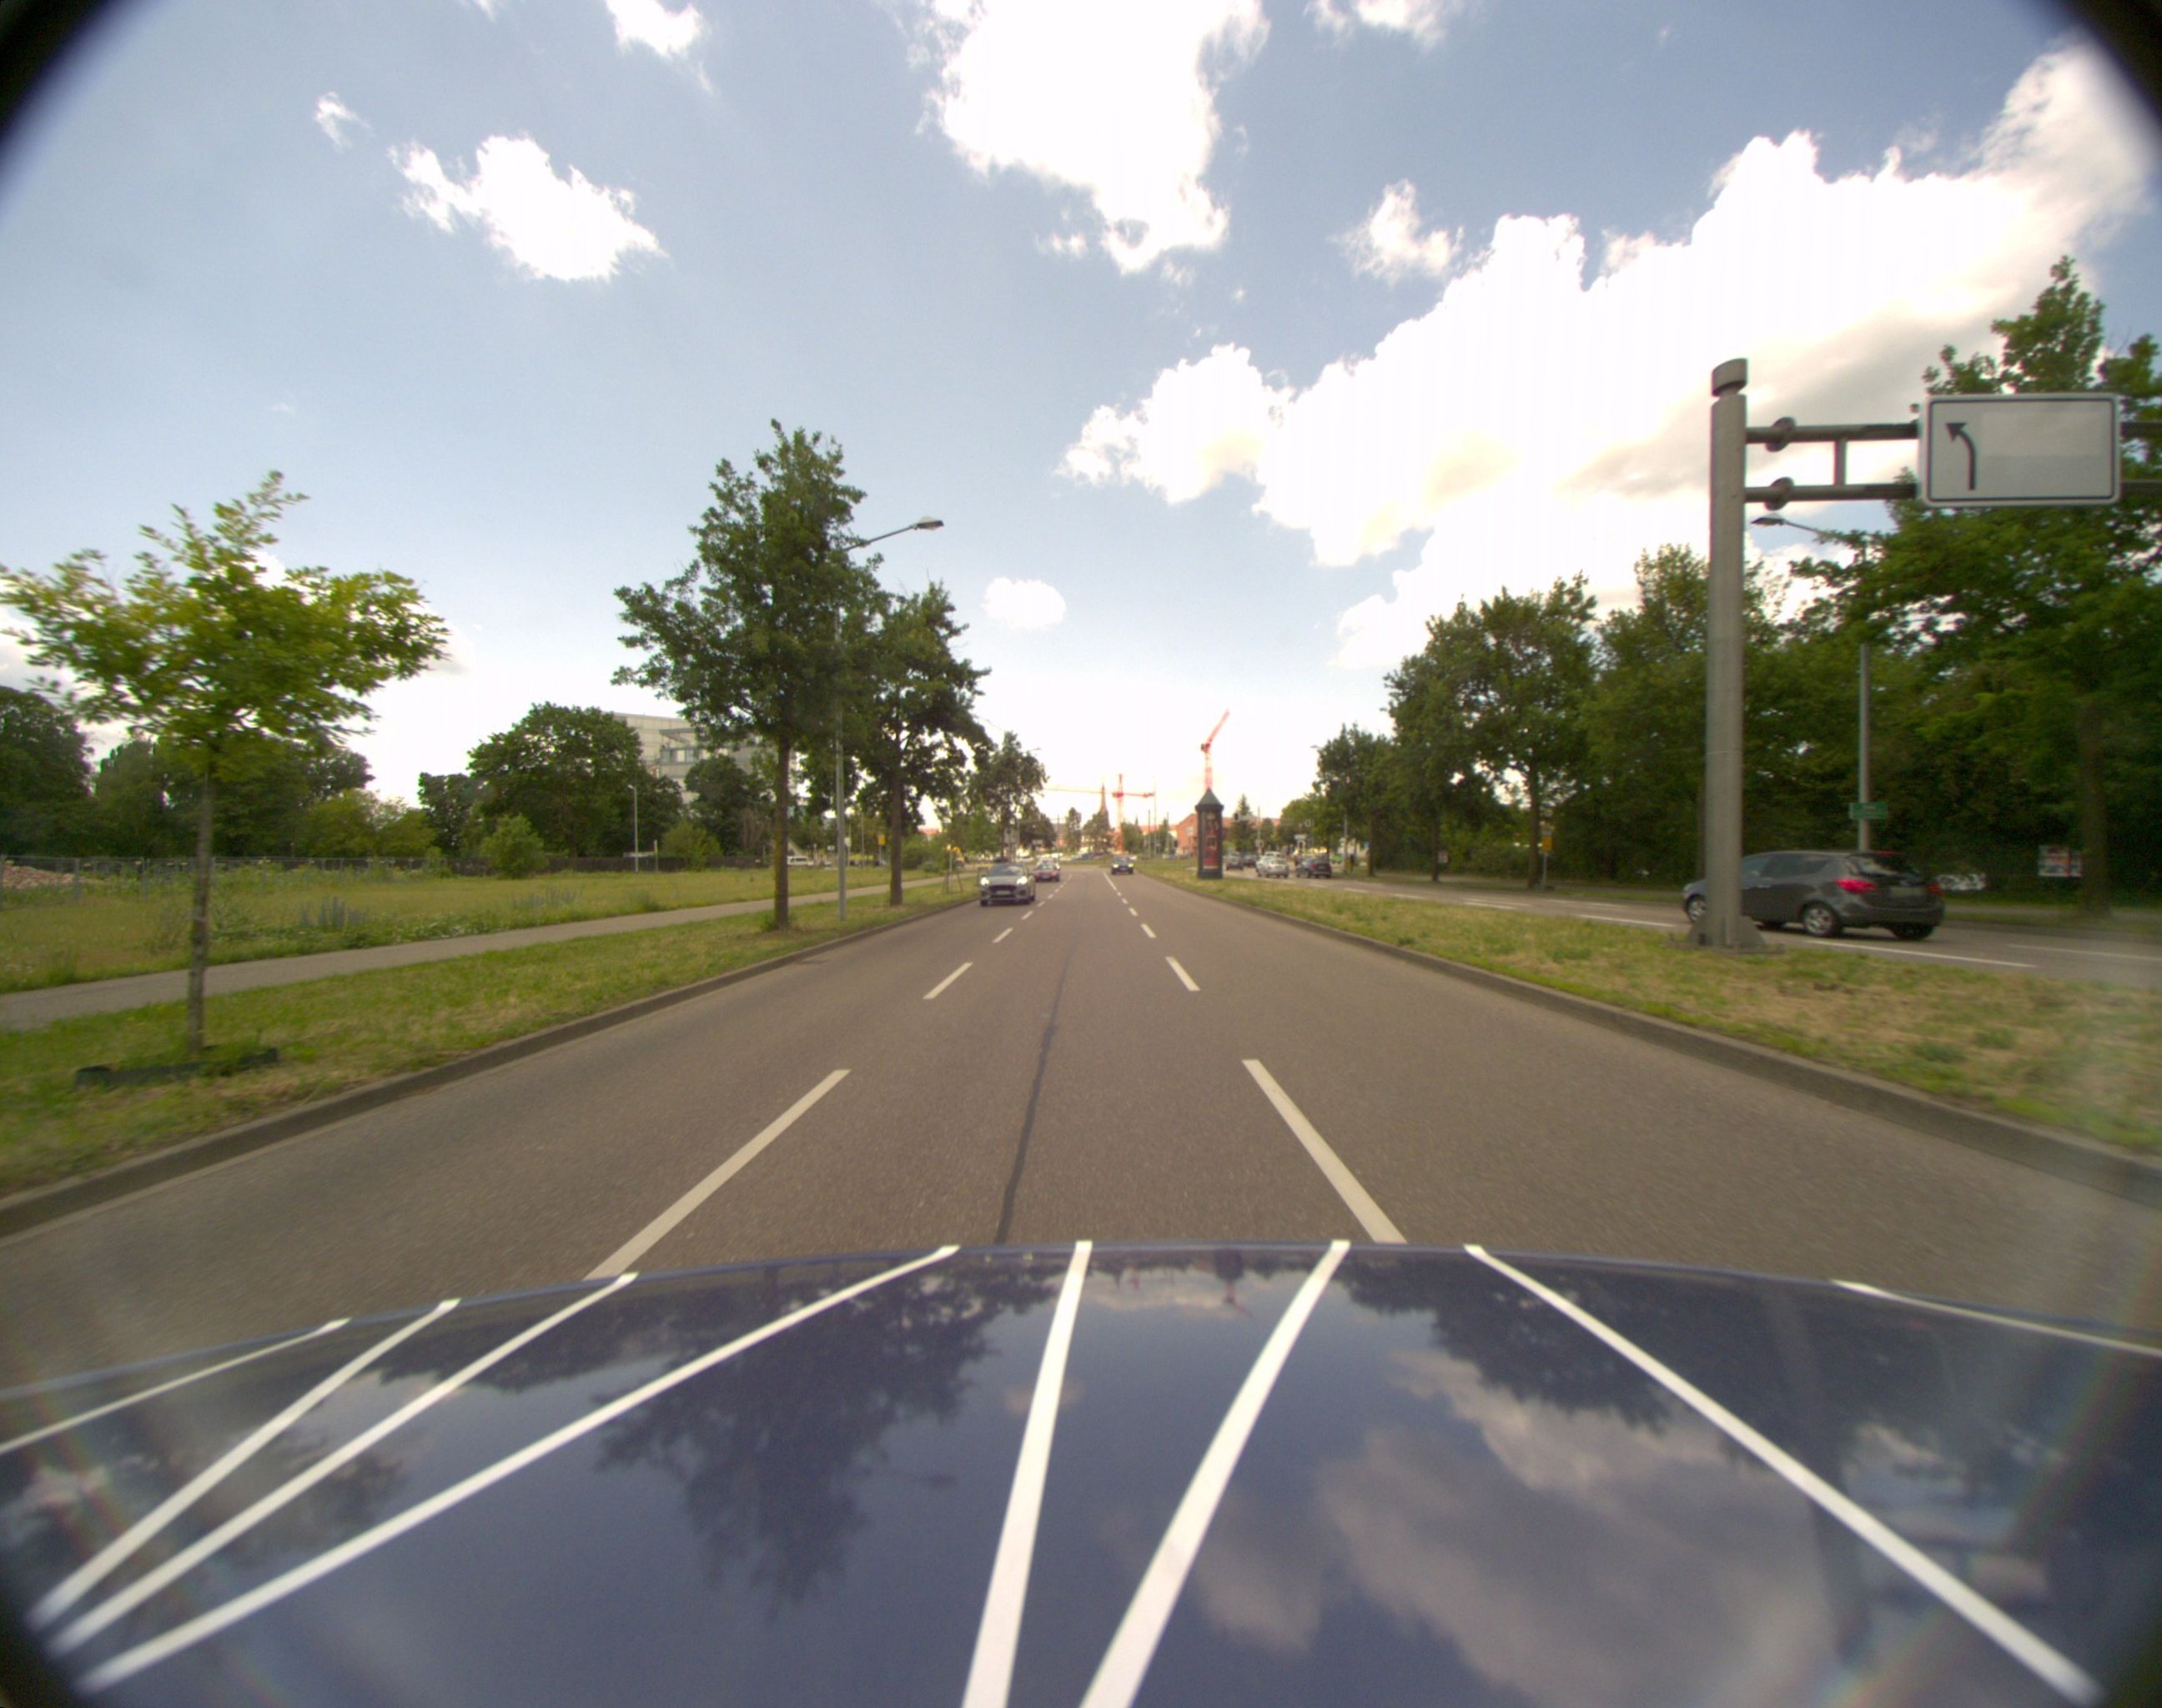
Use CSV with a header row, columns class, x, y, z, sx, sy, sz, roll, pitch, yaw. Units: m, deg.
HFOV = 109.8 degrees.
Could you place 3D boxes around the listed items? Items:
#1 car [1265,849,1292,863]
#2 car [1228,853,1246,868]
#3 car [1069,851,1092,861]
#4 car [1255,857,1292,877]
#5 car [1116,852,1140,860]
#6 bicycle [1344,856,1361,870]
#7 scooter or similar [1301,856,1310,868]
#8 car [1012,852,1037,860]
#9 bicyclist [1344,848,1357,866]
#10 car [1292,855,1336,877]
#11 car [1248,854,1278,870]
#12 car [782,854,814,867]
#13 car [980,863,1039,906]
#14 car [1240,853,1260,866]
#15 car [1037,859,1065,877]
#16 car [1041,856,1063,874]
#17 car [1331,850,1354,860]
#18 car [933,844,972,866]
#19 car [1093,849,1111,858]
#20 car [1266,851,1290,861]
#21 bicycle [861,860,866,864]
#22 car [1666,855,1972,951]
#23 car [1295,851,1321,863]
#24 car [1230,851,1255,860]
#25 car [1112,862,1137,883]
class,x,y,z,sx,sy,sz,roll,pitch,yaw
car,25.922,0.280,99.802,1.838,1.789,4.798,2,1,35
car,16.338,0.666,79.621,1.725,1.581,5.017,0,0,11
car,-0.163,0.432,147.676,4.406,1.788,1.755,-1,0,-4
car,14.323,0.934,56.747,1.767,1.431,4.309,0,0,1
car,9.507,0.454,152.251,4.500,1.513,2.126,-1,0,11
bicycle,24.374,0.825,68.160,0.763,1.212,2.016,-3,1,1
scooter or similar,22.664,0.765,76.721,0.541,1.159,1.441,-1,0,5
car,-10.796,0.369,144.650,4.318,1.321,1.995,-1,0,-29
bicyclist,24.198,0.279,68.257,0.832,1.556,0.883,-3,1,1
car,17.653,0.906,57.789,1.767,1.568,5.031,0,0,0
car,17.471,0.748,73.048,1.914,1.532,4.368,0,0,1
car,-50.423,1.082,135.542,2.143,2.135,5.161,-1,0,30
car,-2.624,1.107,28.751,1.673,1.462,4.093,0,0,2
car,20.333,0.667,91.200,1.840,1.471,4.759,1,1,18
car,-2.150,1.004,55.477,1.673,1.254,4.093,0,0,4
car,-2.858,1.045,74.921,1.675,1.589,4.124,-3,1,-8
car,36.182,0.173,105.112,1.616,1.340,4.180,2,1,39
car,-17.935,0.159,105.523,2.289,2.837,7.236,-3,2,-36
car,5.173,-0.026,186.773,2.396,2.184,6.828,-1,0,-17
car,35.686,0.332,137.689,2.280,1.677,4.782,-1,0,-13
bicycle,-41.986,1.512,146.720,1.469,0.821,0.359,-1,0,44
car,13.852,0.817,14.703,1.746,1.560,4.275,1,0,0
car,28.346,0.315,94.850,1.838,1.435,4.428,2,1,35
car,29.091,0.213,136.806,1.917,1.583,4.581,-1,1,-28
car,3.832,1.625,67.105,1.774,1.590,4.125,-2,2,-2
